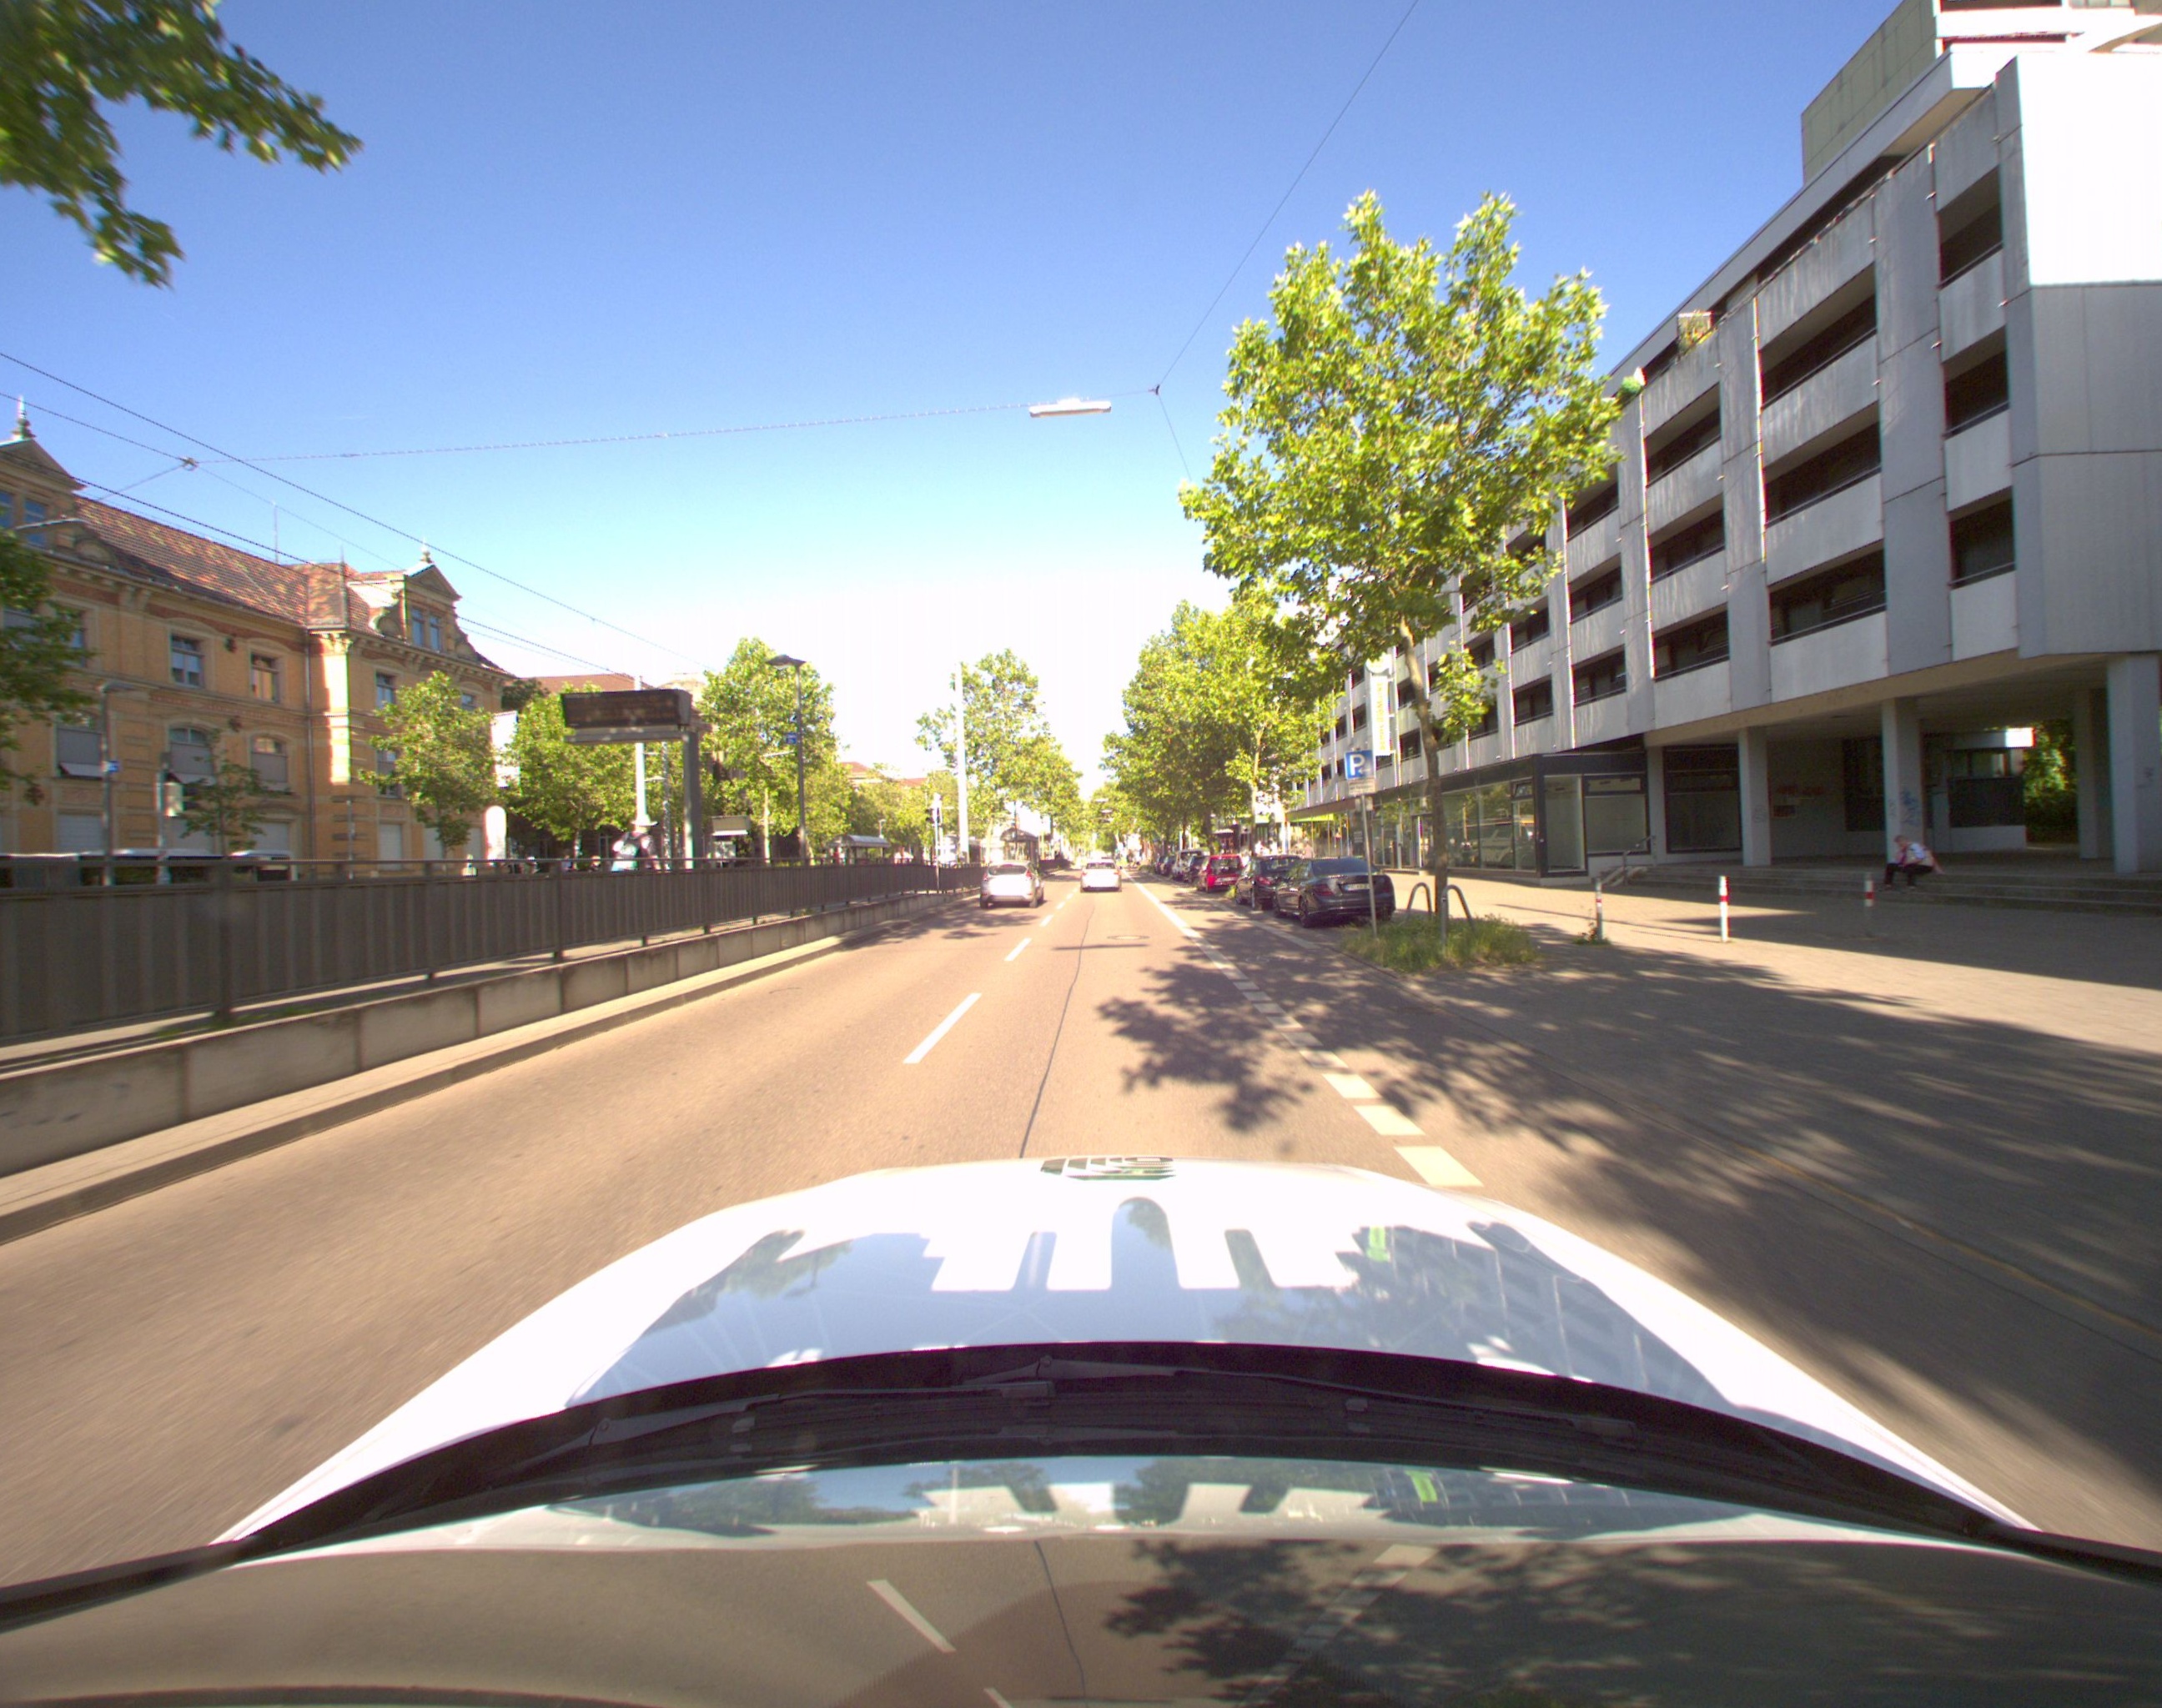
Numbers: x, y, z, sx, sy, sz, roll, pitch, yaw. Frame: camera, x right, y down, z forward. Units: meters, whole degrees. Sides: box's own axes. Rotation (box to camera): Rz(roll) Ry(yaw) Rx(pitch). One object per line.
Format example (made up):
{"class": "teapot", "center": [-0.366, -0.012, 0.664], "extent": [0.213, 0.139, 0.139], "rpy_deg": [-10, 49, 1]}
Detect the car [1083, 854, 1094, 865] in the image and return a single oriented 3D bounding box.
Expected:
{"class": "car", "center": [1.462, 1.062, 158.104], "extent": [1.986, 2.013, 4.002], "rpy_deg": [0, 0, 2]}

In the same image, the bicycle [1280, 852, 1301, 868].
{"class": "bicycle", "center": [14.379, 0.413, 55.914], "extent": [1.378, 1.148, 0.243], "rpy_deg": [0, 0, 1]}

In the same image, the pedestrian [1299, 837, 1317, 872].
{"class": "pedestrian", "center": [13.342, 0.043, 47.874], "extent": [0.785, 2.013, 0.891], "rpy_deg": [-2, 0, 2]}

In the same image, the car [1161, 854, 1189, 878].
{"class": "car", "center": [6.628, 0.829, 57.655], "extent": [1.704, 1.563, 4.002], "rpy_deg": [0, 0, 2]}

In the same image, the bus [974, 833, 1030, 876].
{"class": "bus", "center": [-7.418, 0.021, 79.820], "extent": [2.739, 3.625, 18.858], "rpy_deg": [-2, 0, 2]}

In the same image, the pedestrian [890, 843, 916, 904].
{"class": "pedestrian", "center": [-5.788, 0.627, 26.586], "extent": [0.636, 1.954, 0.814], "rpy_deg": [0, 0, 2]}

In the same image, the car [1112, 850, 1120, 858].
{"class": "car", "center": [9.029, -0.075, 210.735], "extent": [1.986, 2.013, 4.002], "rpy_deg": [0, 0, 2]}

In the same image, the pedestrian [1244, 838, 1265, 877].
{"class": "pedestrian", "center": [9.325, 0.190, 43.802], "extent": [0.960, 2.013, 0.939], "rpy_deg": [-2, 0, 2]}

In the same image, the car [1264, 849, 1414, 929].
{"class": "car", "center": [5.424, 0.694, 17.803], "extent": [1.986, 1.509, 4.600], "rpy_deg": [0, -1, 2]}

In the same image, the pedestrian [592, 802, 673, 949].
{"class": "pedestrian", "center": [-6.184, 0.282, 11.264], "extent": [0.636, 1.954, 0.814], "rpy_deg": [0, 0, 2]}

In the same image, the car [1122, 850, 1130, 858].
{"class": "car", "center": [11.329, -0.109, 205.246], "extent": [1.868, 2.013, 3.713], "rpy_deg": [0, 0, 2]}

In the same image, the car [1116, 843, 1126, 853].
{"class": "car", "center": [8.869, -1.402, 182.277], "extent": [1.986, 2.014, 4.001], "rpy_deg": [-4, -1, 1]}

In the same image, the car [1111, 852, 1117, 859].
{"class": "car", "center": [9.985, 0.467, 246.449], "extent": [1.986, 2.013, 4.002], "rpy_deg": [0, 0, 2]}

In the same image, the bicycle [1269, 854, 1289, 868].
{"class": "bicycle", "center": [14.360, 0.523, 58.990], "extent": [1.378, 1.012, 0.243], "rpy_deg": [0, 0, 1]}

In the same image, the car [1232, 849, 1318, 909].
{"class": "car", "center": [5.401, 0.637, 23.151], "extent": [1.663, 1.551, 4.003], "rpy_deg": [0, 0, 2]}

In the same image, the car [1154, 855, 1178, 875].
{"class": "car", "center": [6.739, 0.871, 64.886], "extent": [1.694, 1.534, 3.719], "rpy_deg": [0, 0, 2]}

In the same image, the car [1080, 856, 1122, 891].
{"class": "car", "center": [0.879, 0.815, 36.019], "extent": [1.756, 1.432, 4.001], "rpy_deg": [-1, 0, 1]}

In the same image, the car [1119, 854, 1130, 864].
{"class": "car", "center": [8.305, 0.954, 155.702], "extent": [1.986, 2.013, 4.002], "rpy_deg": [0, 0, 2]}

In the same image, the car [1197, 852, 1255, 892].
{"class": "car", "center": [5.840, 0.712, 33.206], "extent": [1.799, 1.520, 4.002], "rpy_deg": [0, -1, 2]}

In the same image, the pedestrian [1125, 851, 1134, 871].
{"class": "pedestrian", "center": [5.025, 0.726, 83.947], "extent": [0.833, 2.013, 0.650], "rpy_deg": [0, 0, 9]}

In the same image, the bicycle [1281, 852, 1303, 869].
{"class": "bicycle", "center": [14.390, 0.415, 55.545], "extent": [1.378, 1.148, 0.243], "rpy_deg": [0, 0, 1]}

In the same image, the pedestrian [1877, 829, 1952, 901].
{"class": "pedestrian", "center": [16.148, 0.203, 15.792], "extent": [0.714, 1.357, 0.745], "rpy_deg": [0, 0, 9]}

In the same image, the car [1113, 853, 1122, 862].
{"class": "car", "center": [8.757, 0.762, 194.502], "extent": [2.063, 2.013, 4.002], "rpy_deg": [-2, 0, 2]}

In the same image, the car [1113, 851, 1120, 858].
{"class": "car", "center": [10.065, 0.142, 231.315], "extent": [1.986, 1.698, 4.002], "rpy_deg": [-2, 0, 2]}

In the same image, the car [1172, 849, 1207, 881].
{"class": "car", "center": [6.438, 0.633, 48.572], "extent": [1.718, 1.880, 4.002], "rpy_deg": [0, 0, 2]}

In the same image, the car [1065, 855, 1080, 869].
{"class": "car", "center": [-1.166, 1.112, 116.265], "extent": [1.986, 1.816, 4.002], "rpy_deg": [0, 0, 2]}

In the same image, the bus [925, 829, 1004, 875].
{"class": "bus", "center": [-10.469, -0.249, 77.377], "extent": [2.858, 3.628, 24.618], "rpy_deg": [-2, 0, 2]}

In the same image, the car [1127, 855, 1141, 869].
{"class": "car", "center": [7.397, 1.080, 113.910], "extent": [1.802, 1.791, 3.913], "rpy_deg": [0, 0, 2]}

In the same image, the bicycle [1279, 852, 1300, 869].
{"class": "bicycle", "center": [14.379, 0.458, 56.257], "extent": [1.378, 1.148, 0.243], "rpy_deg": [0, 0, 1]}

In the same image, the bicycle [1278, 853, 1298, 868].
{"class": "bicycle", "center": [14.364, 0.467, 56.542], "extent": [1.378, 1.055, 0.243], "rpy_deg": [0, 0, 1]}

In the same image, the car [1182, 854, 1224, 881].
{"class": "car", "center": [6.312, 0.697, 42.589], "extent": [1.774, 1.381, 4.002], "rpy_deg": [0, -1, 2]}

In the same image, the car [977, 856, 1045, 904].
{"class": "car", "center": [-2.116, 0.753, 25.395], "extent": [1.640, 1.362, 3.762], "rpy_deg": [0, 0, 2]}
